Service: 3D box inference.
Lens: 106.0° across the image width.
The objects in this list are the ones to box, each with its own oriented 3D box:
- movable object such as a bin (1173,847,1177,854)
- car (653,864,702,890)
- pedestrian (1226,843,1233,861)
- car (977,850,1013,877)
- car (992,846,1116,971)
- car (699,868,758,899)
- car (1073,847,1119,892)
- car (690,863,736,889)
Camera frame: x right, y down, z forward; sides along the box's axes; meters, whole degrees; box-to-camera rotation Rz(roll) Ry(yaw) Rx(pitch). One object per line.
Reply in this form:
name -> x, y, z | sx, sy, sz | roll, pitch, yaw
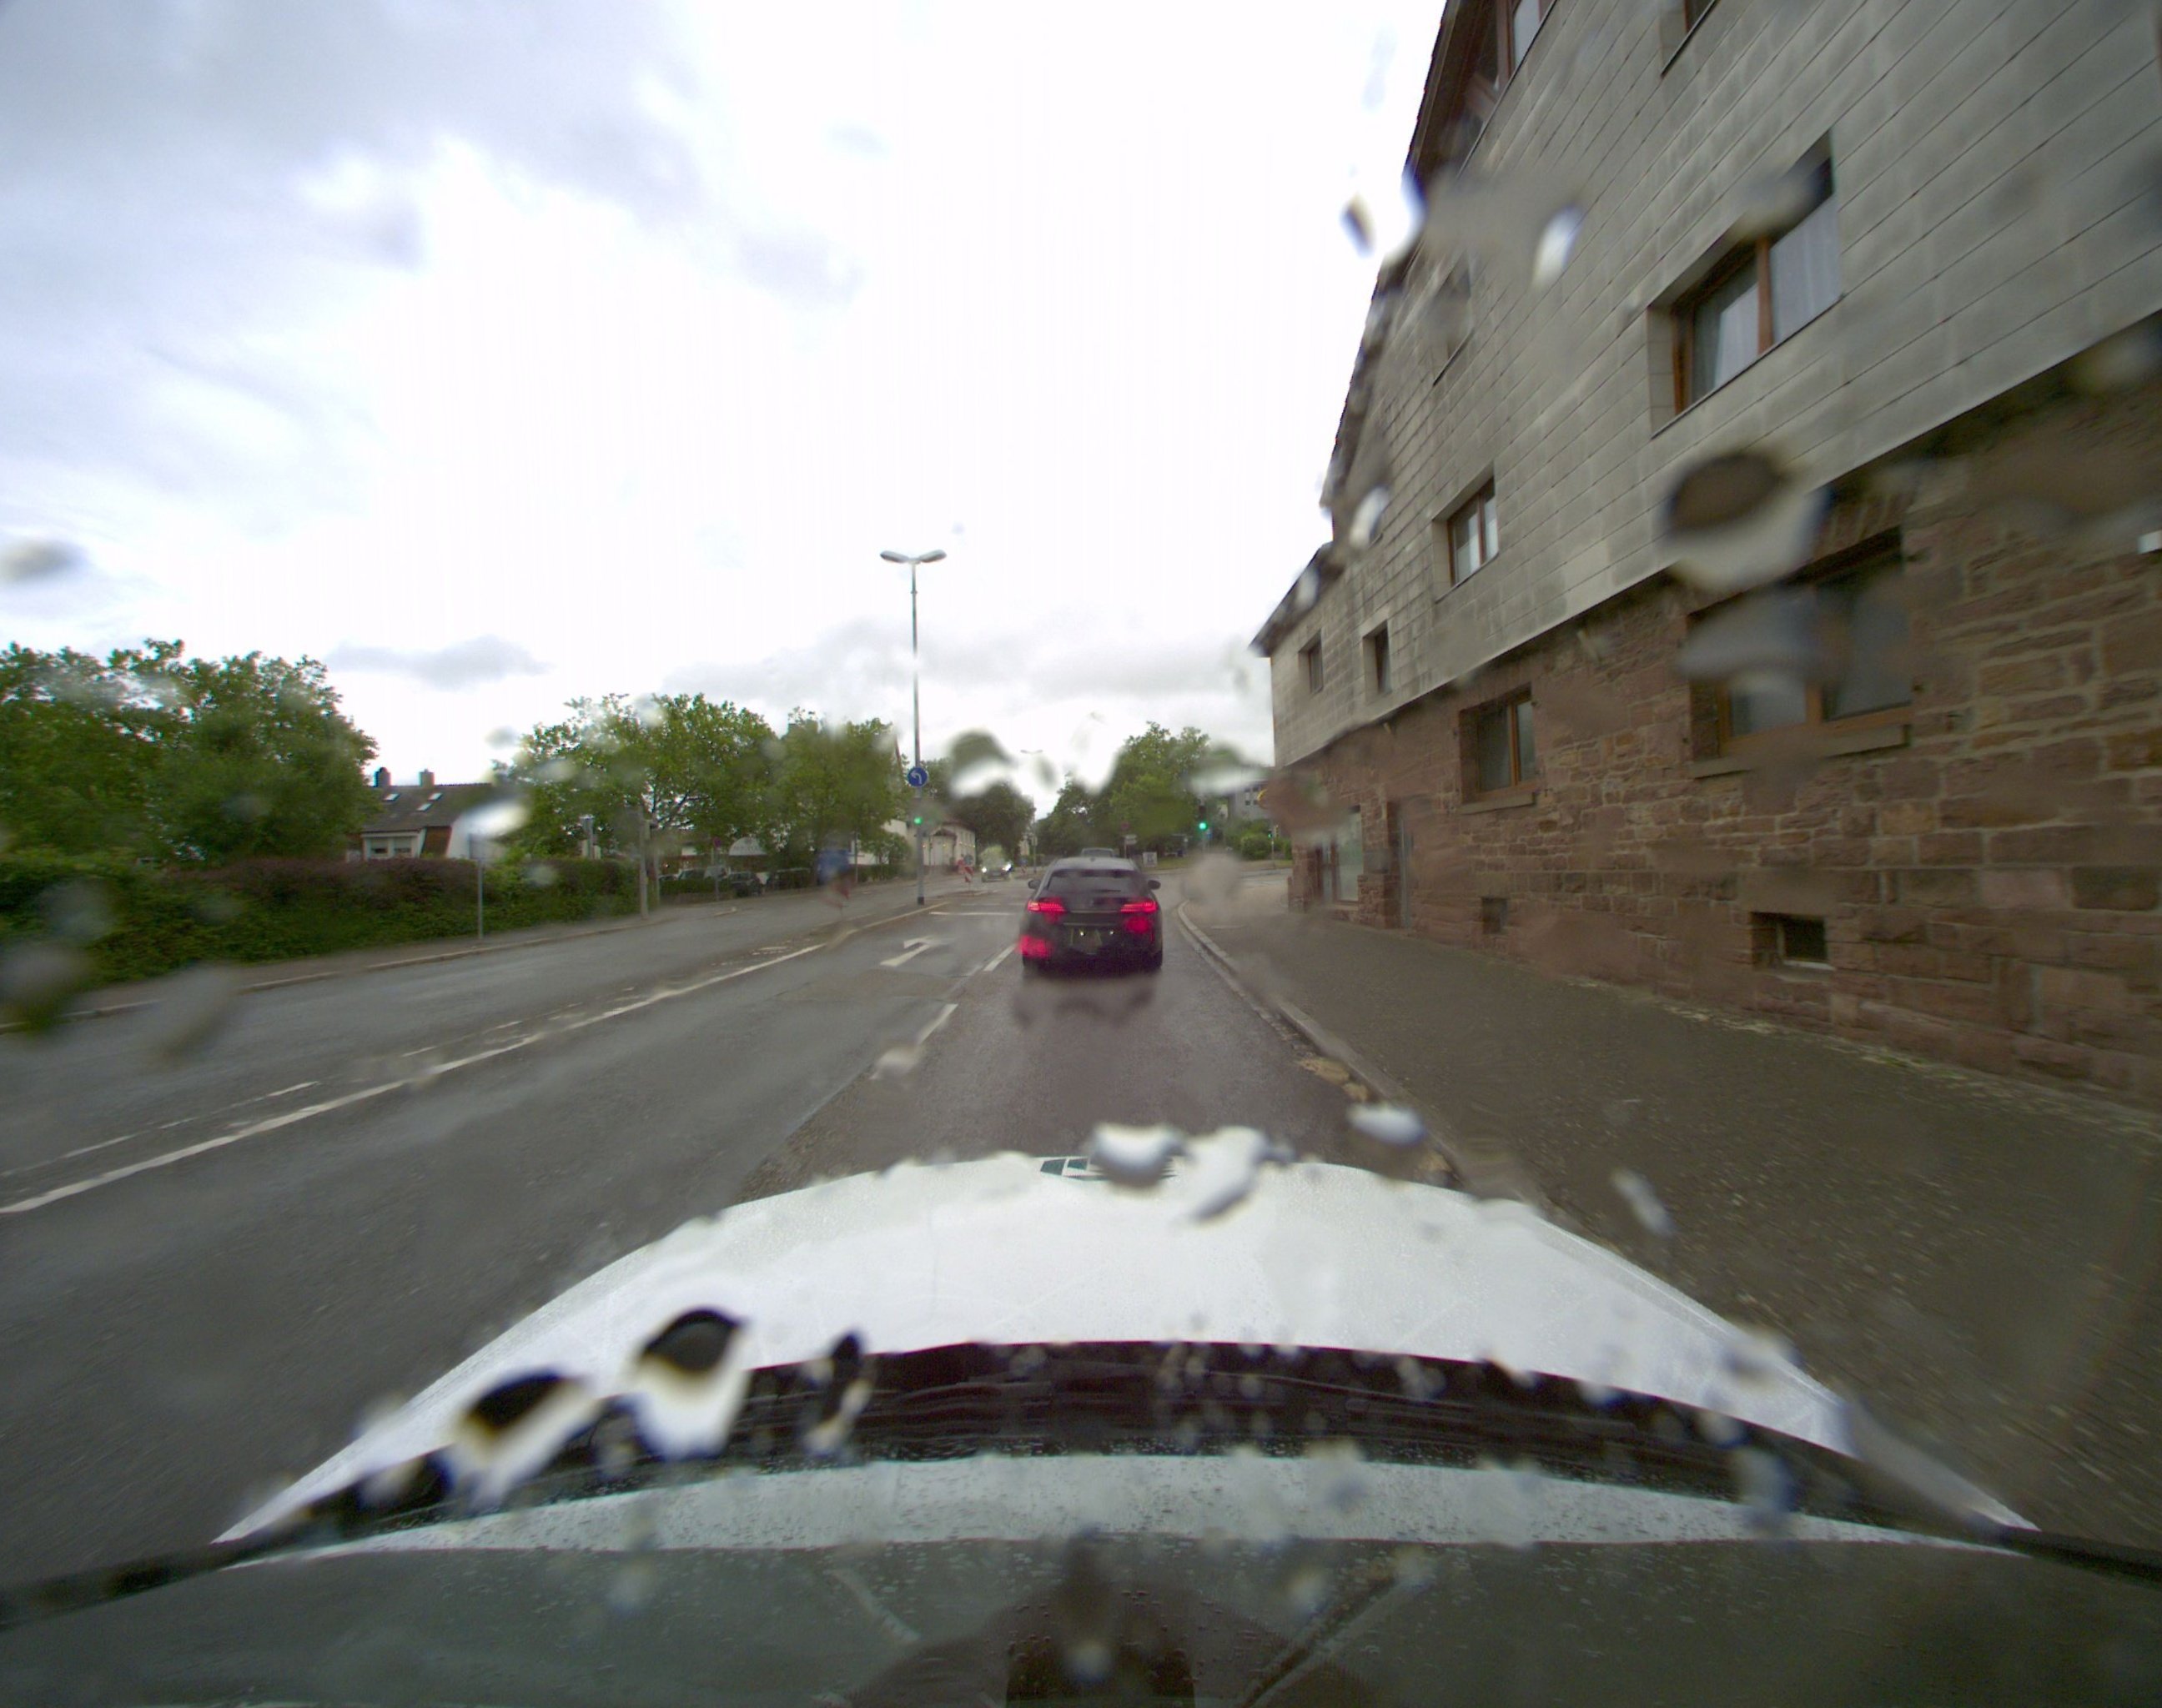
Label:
movable object such as a bin -> 12.308, -0.479, 106.780 | 0.446, 0.906, 0.465 | 0, -1, 17
car -> -32.332, 1.847, 65.372 | 1.988, 2.014, 3.996 | 0, -1, -2
pedestrian -> 13.338, -0.189, 73.308 | 0.597, 1.617, 0.527 | 0, -1, 8
car -> -5.522, 0.597, 52.733 | 1.893, 1.577, 4.500 | -2, 1, -1
car -> -0.362, 0.684, 11.770 | 1.519, 1.534, 3.530 | 0, -1, -1
car -> -21.352, 1.754, 49.524 | 1.803, 1.551, 4.001 | 0, 3, 0
car -> 0.585, 0.629, 34.696 | 1.807, 1.809, 3.754 | 0, -1, -1
car -> -29.608, 1.767, 65.681 | 1.988, 2.014, 3.996 | 0, -1, -2
